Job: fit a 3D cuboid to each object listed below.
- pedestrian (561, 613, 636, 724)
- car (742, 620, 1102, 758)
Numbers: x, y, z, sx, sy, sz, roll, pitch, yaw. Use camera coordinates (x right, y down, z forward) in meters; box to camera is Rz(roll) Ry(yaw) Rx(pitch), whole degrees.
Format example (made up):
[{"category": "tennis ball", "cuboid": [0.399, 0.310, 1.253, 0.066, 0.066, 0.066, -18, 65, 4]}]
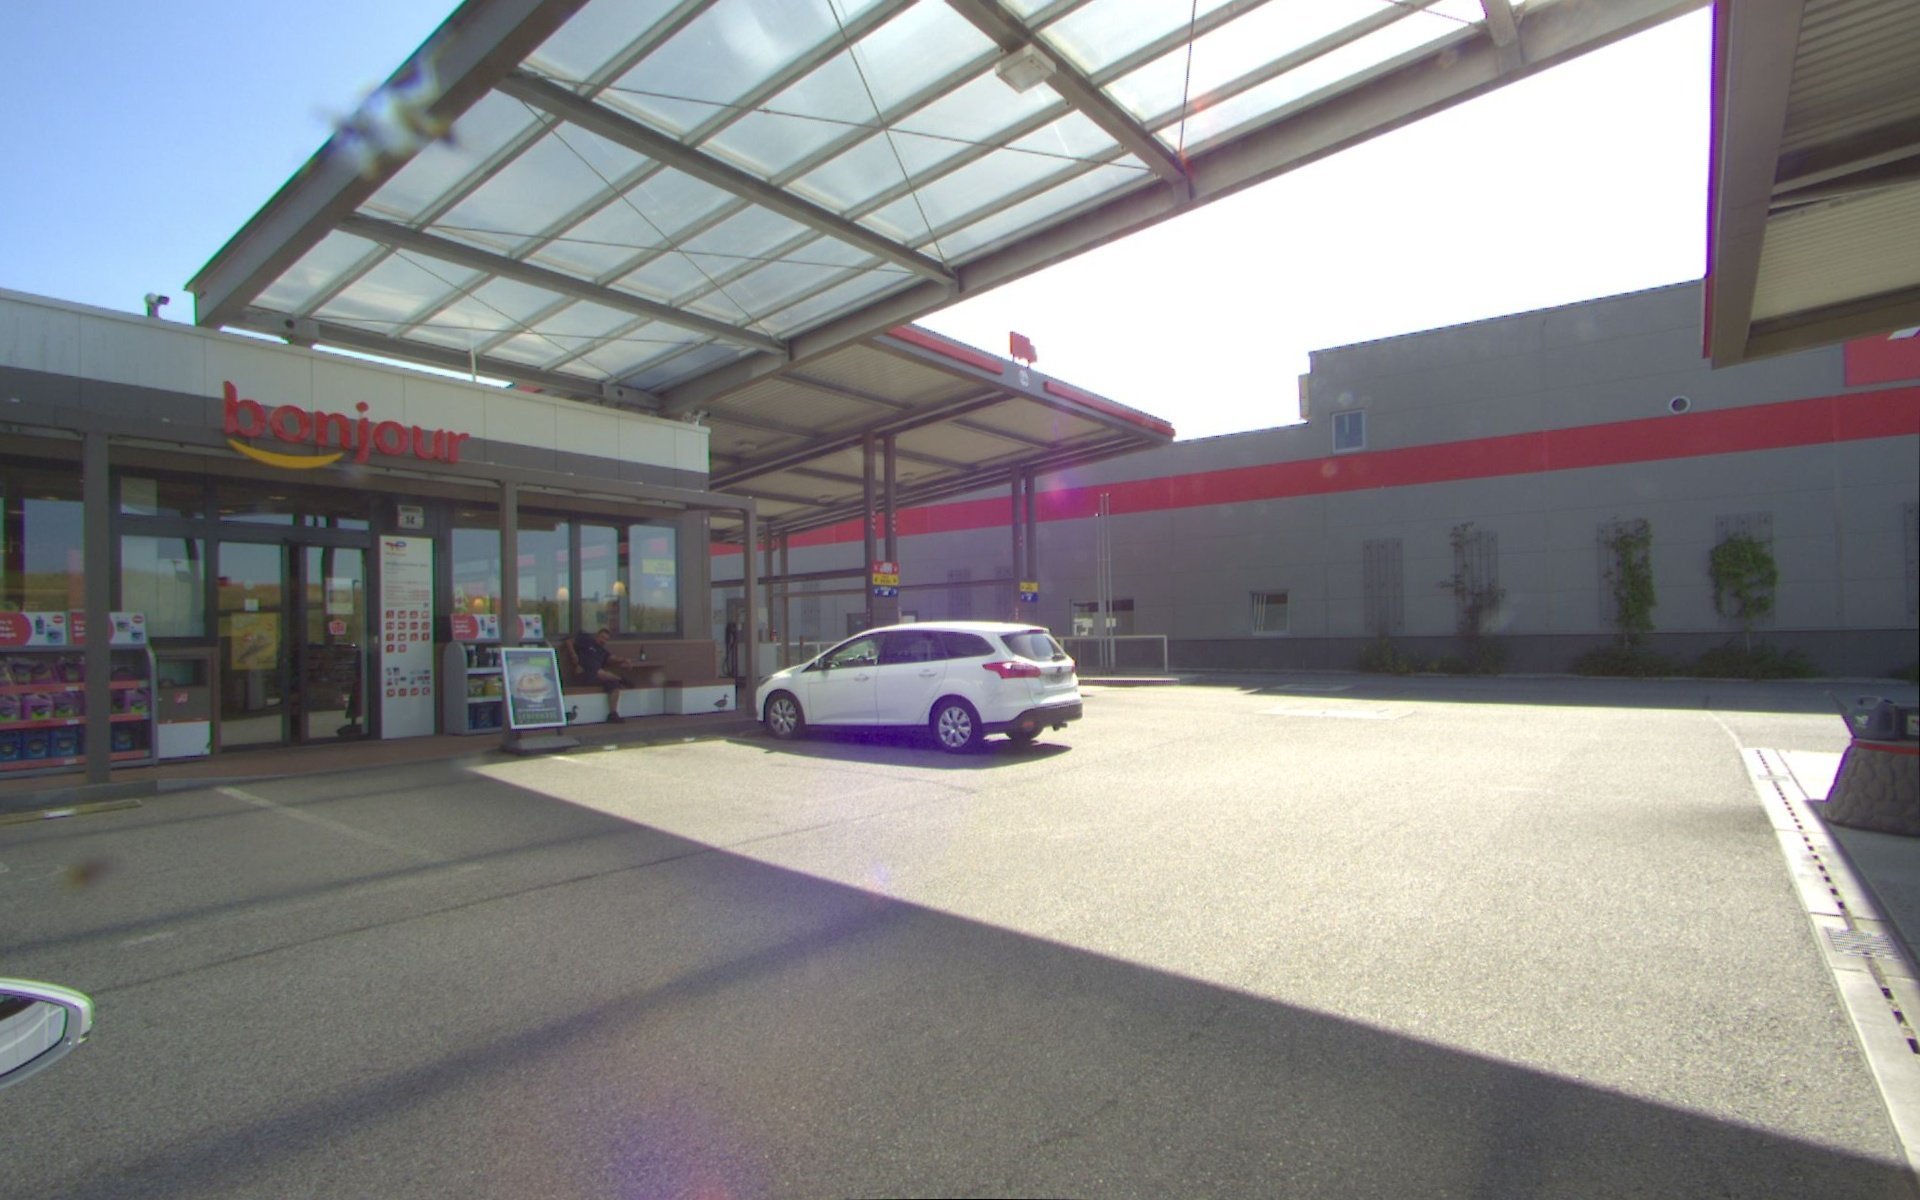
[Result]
[{"category": "pedestrian", "cuboid": [-4.896, 0.904, 13.572, 0.664, 1.450, 0.699, -1, -1, 36]}, {"category": "car", "cuboid": [-0.534, 1.013, 12.645, 4.258, 1.475, 1.827, -1, -1, 31]}]
